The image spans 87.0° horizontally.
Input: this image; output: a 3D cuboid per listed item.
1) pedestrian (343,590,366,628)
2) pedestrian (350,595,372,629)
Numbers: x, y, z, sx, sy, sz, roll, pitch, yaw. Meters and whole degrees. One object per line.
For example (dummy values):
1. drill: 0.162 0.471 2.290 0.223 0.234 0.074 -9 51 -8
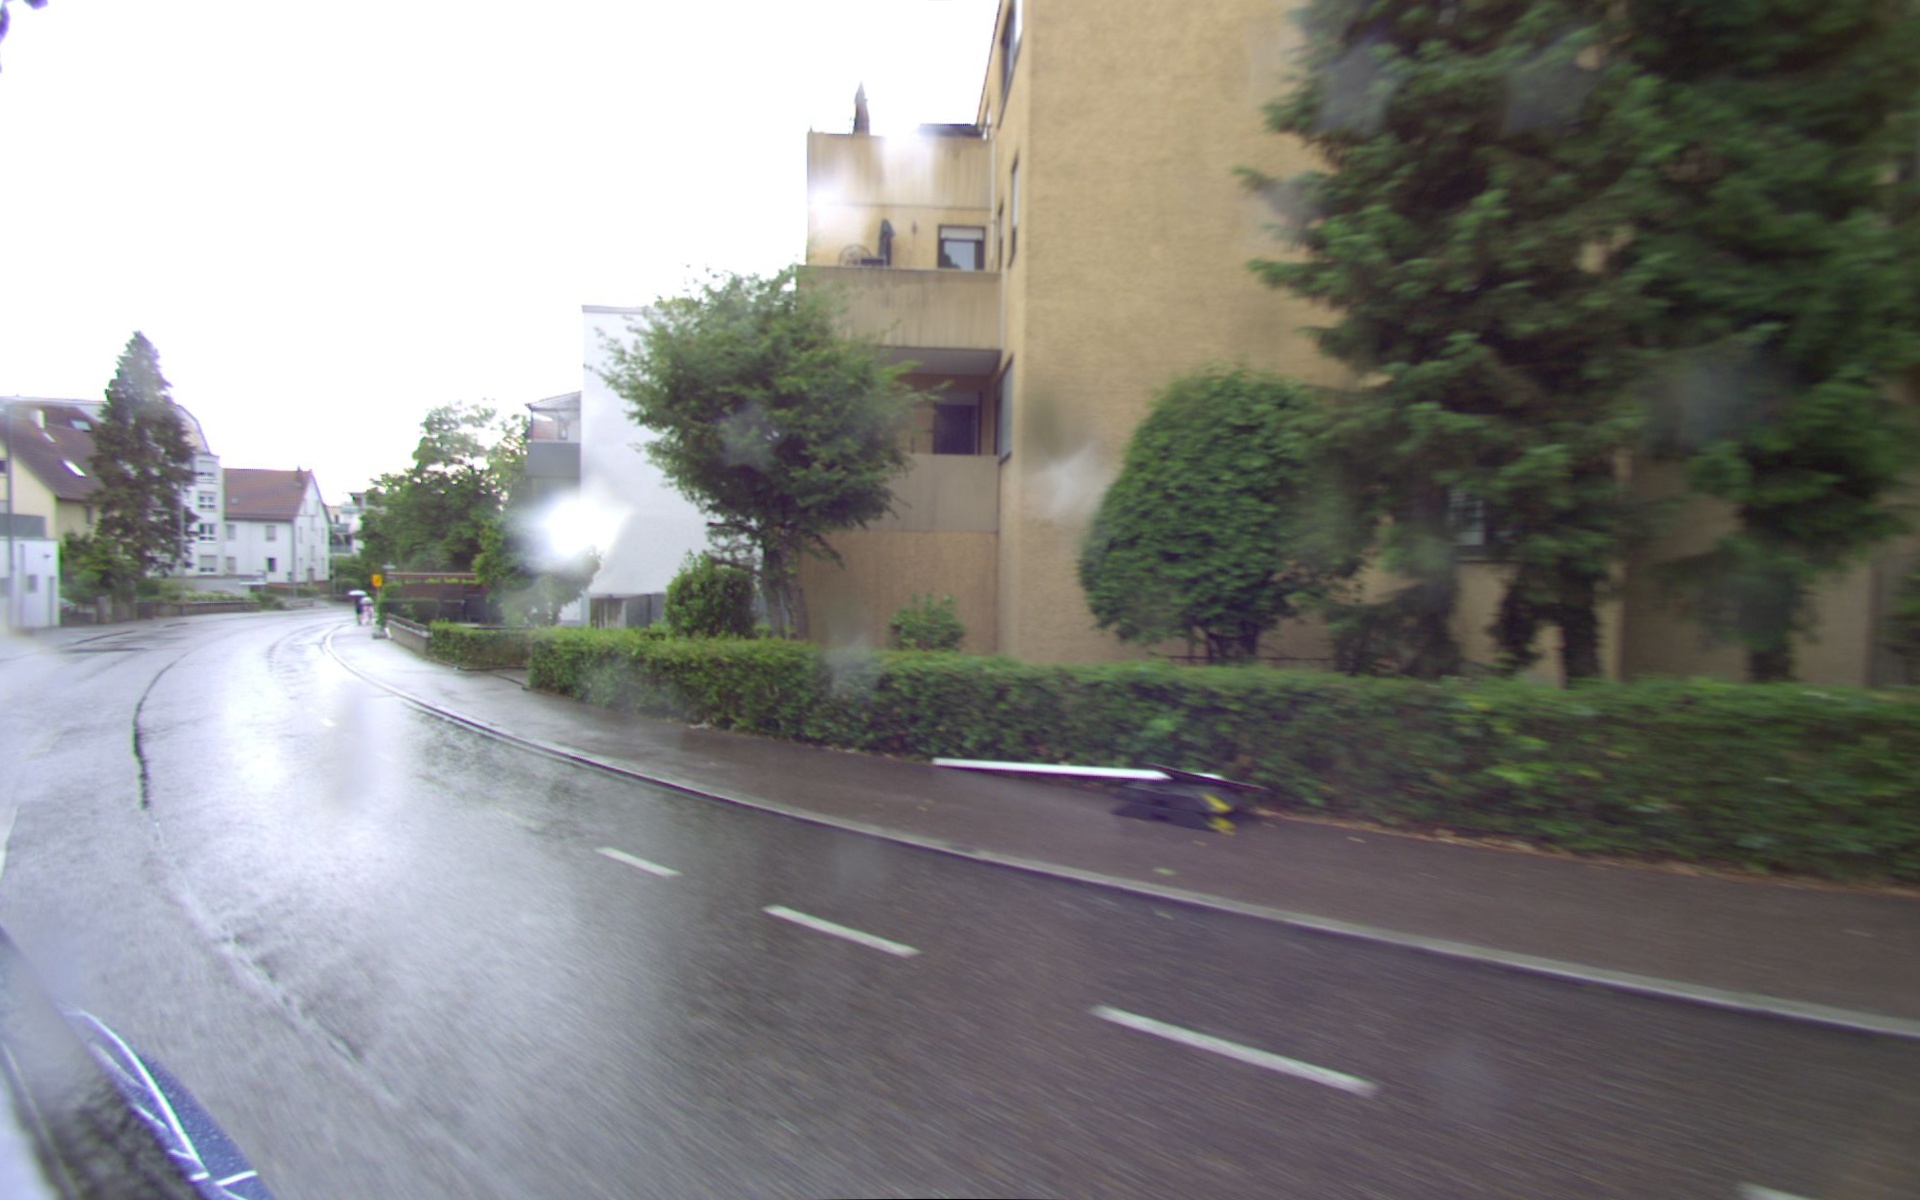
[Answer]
1. pedestrian: -33.216 0.509 55.496 0.803 2.068 0.858 -1 0 42
2. pedestrian: -32.519 0.646 54.930 0.781 1.775 0.836 -1 0 41
